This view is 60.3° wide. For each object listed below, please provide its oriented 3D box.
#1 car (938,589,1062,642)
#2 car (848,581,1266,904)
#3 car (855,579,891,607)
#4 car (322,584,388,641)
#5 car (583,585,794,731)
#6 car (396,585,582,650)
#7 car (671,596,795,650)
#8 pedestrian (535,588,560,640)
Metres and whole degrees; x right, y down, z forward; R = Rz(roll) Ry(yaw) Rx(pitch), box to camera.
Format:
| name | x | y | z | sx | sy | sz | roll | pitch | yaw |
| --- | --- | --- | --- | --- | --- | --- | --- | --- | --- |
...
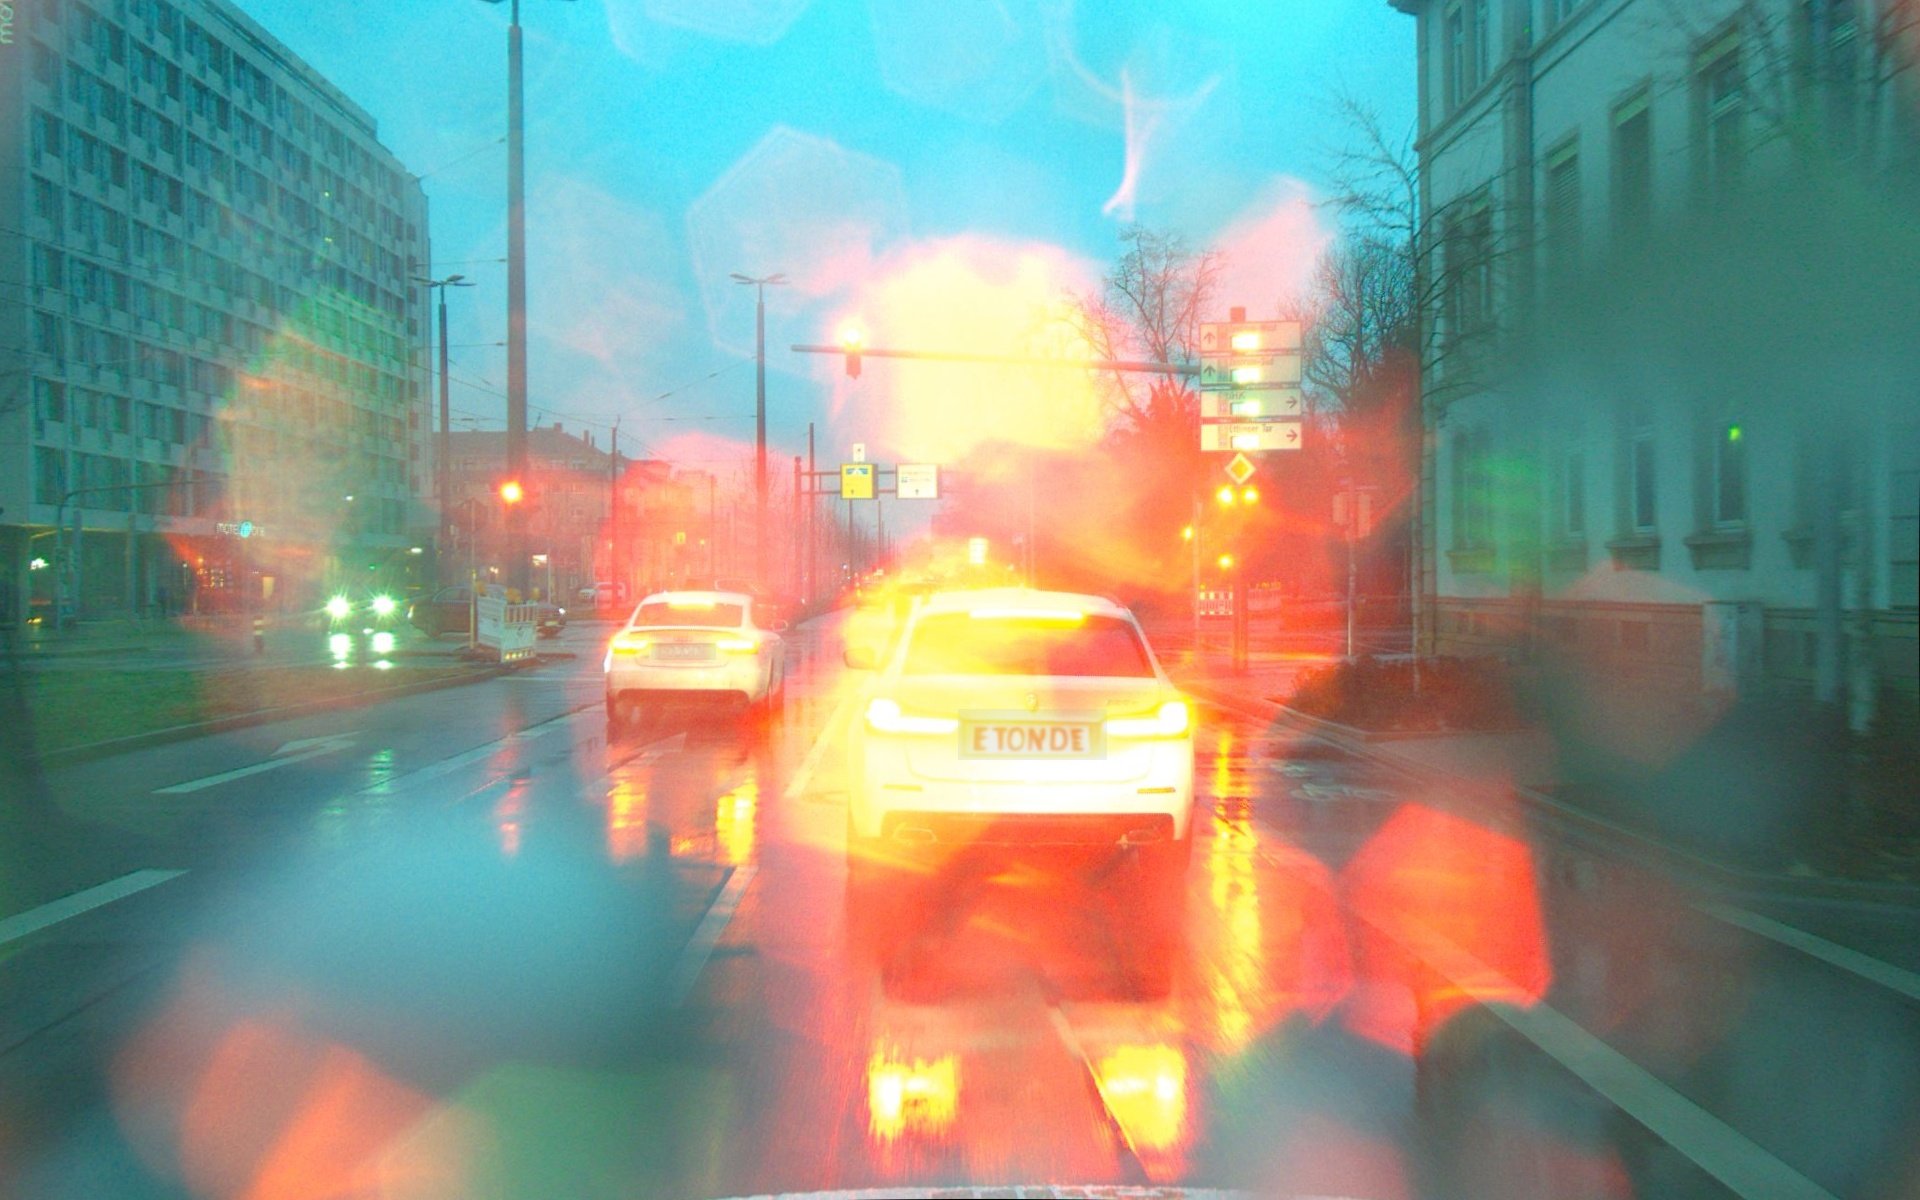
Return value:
| name | x | y | z | sx | sy | sz | roll | pitch | yaw |
| --- | --- | --- | --- | --- | --- | --- | --- | --- | --- |
| car | 1.244 | 0.483 | 53.127 | 1.833 | 1.637 | 3.885 | 1 | 0 | -41 |
| car | 0.341 | 0.633 | 9.873 | 1.954 | 1.481 | 4.366 | 0 | 1 | -3 |
| car | -4.813 | -0.409 | 91.526 | 1.954 | 1.481 | 4.366 | 0 | 1 | -3 |
| car | -19.435 | 0.415 | 53.287 | 1.866 | 1.750 | 4.685 | 1 | -1 | -19 |
| car | -3.021 | 0.575 | 19.278 | 1.954 | 1.481 | 4.366 | 0 | 1 | -3 |
| car | -13.013 | 0.473 | 45.833 | 4.595 | 1.750 | 1.870 | 0 | -1 | 11 |
| car | -7.303 | 0.734 | 53.519 | 1.811 | 1.637 | 3.933 | 1 | 0 | 33 |
| pedestrian | -14.041 | 0.476 | 56.329 | 0.778 | 1.741 | 0.809 | 1 | -1 | -16 |
